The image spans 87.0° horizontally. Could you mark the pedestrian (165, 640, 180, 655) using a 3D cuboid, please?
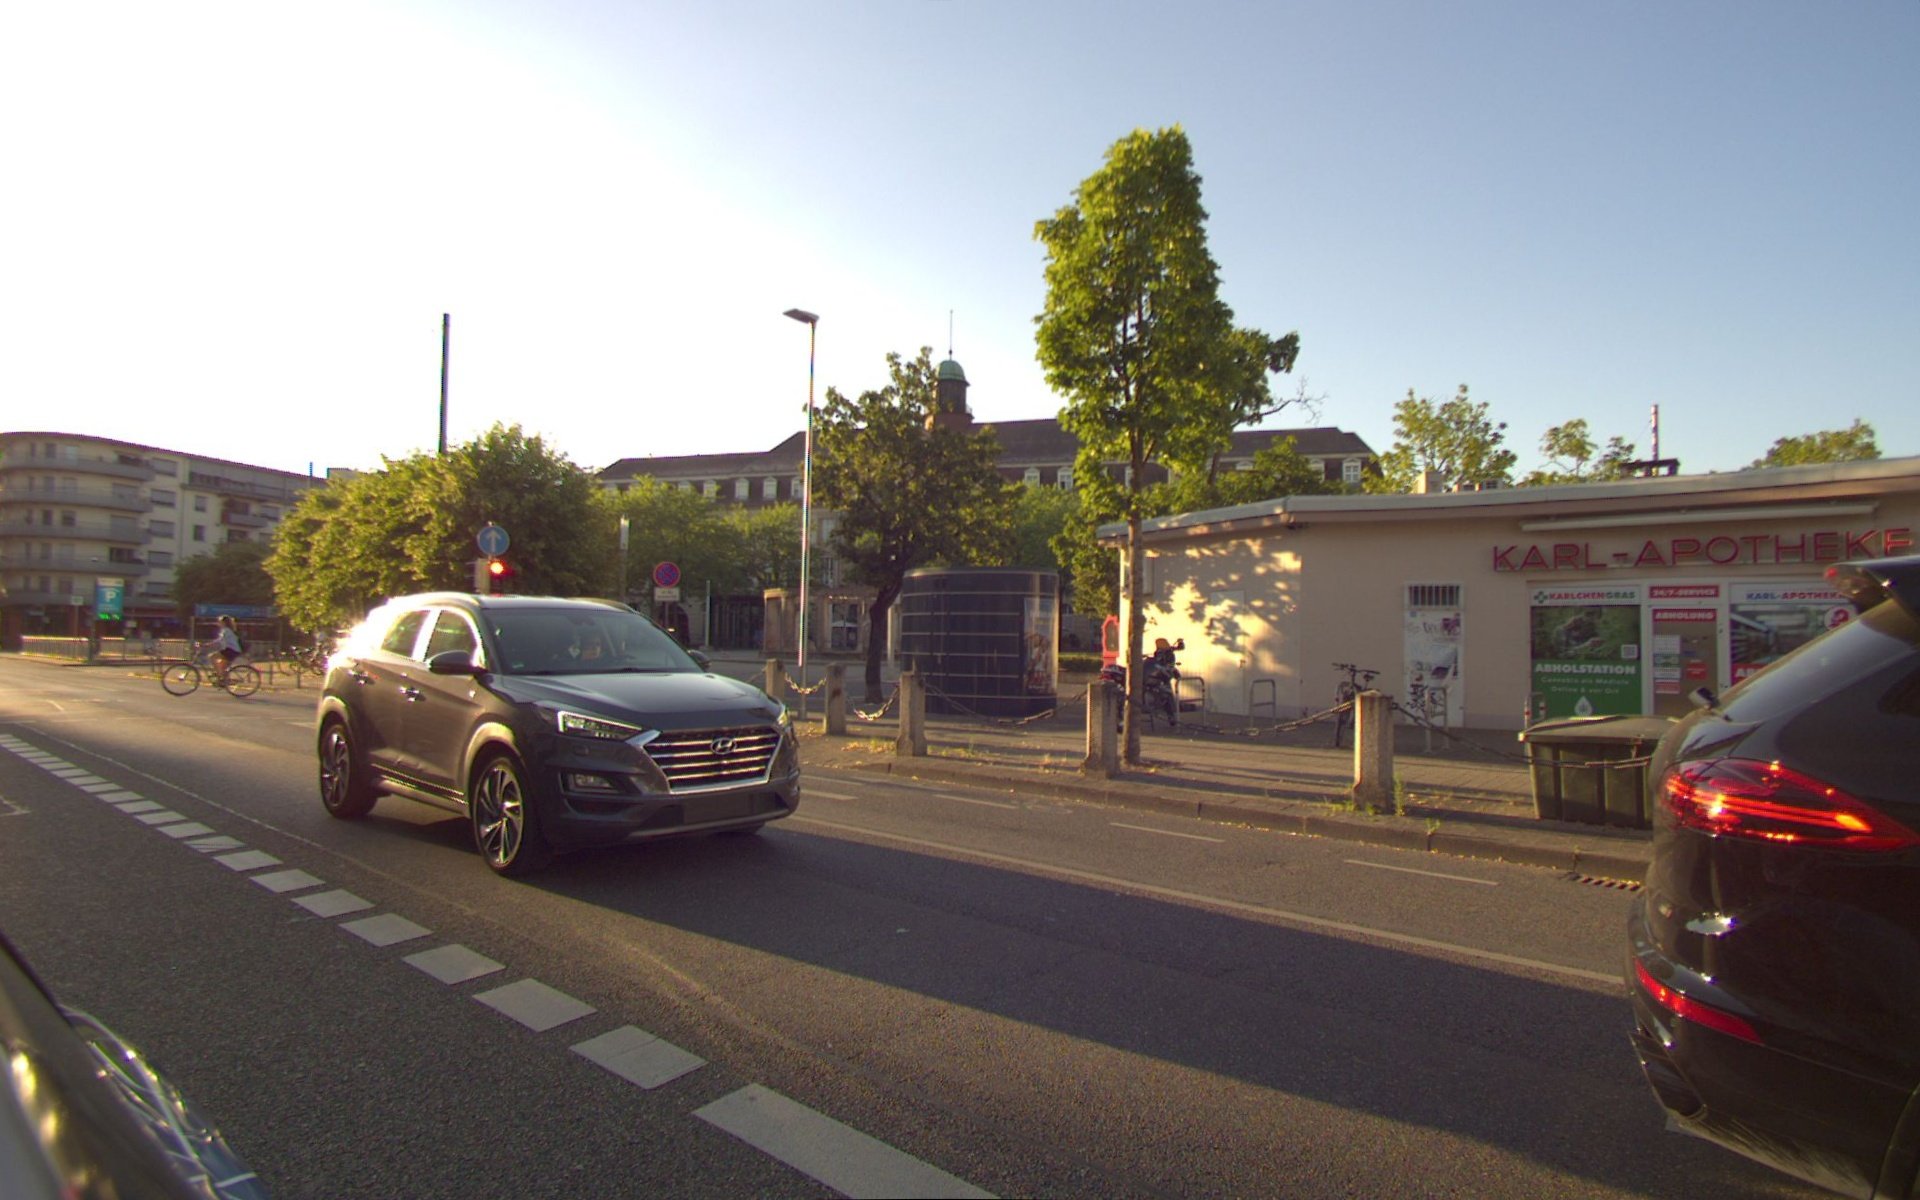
[{"bbox_3d":[-71.883,4.358,92.330,0.721,1.332,0.891,1,-3,-11],"label":"pedestrian"}]

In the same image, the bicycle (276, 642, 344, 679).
[{"bbox_3d":[-23.341,2.171,36.368,0.548,1.262,2.007,-2,-2,36],"label":"bicycle"}]

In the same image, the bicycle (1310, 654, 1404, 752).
[{"bbox_3d":[5.527,1.390,14.027,0.632,1.266,1.834,-2,-4,41],"label":"bicycle"}]

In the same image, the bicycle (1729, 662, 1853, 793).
[{"bbox_3d":[9.096,1.325,11.057,0.949,1.266,1.984,-2,-4,41],"label":"bicycle"}]

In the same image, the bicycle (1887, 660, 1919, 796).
[{"bbox_3d":[9.948,1.246,10.213,0.787,1.266,2.418,-2,-4,41],"label":"bicycle"}]

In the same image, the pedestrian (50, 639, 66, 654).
[{"bbox_3d":[-74.836,3.850,83.962,0.875,1.201,0.734,2,-4,-40],"label":"pedestrian"}]

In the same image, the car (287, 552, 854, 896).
[{"bbox_3d":[-2.965,0.724,7.196,4.447,1.702,1.853,-2,-5,41],"label":"car"}]

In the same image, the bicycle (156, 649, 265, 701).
[{"bbox_3d":[-16.937,1.692,22.924,1.889,1.126,0.707,3,-3,-33],"label":"bicycle"}]

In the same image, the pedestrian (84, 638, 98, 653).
[{"bbox_3d":[-74.477,3.896,86.742,0.887,1.332,0.723,-2,-3,38],"label":"pedestrian"}]

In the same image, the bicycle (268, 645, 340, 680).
[{"bbox_3d":[-22.486,2.136,34.739,0.548,1.143,2.007,-2,-2,36],"label":"bicycle"}]

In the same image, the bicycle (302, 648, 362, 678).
[{"bbox_3d":[-21.594,2.153,34.805,0.548,0.986,1.658,-2,-2,36],"label":"bicycle"}]

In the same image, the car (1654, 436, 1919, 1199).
[{"bbox_3d":[3.749,0.577,1.312,4.556,1.727,1.929,-2,-4,39],"label":"car"}]

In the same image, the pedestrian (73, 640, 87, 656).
[{"bbox_3d":[-74.890,4.091,86.105,0.888,1.332,0.723,-2,-3,39],"label":"pedestrian"}]

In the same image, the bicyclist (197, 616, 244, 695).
[{"bbox_3d":[-16.805,1.260,23.011,0.766,1.737,0.857,3,-4,-34],"label":"bicyclist"}]

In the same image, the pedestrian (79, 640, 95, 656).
[{"bbox_3d":[-74.896,4.118,86.844,0.814,1.332,0.684,-1,-3,16],"label":"pedestrian"}]

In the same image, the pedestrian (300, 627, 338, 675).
[{"bbox_3d":[-25.169,2.003,39.750,0.937,1.831,0.828,1,-3,-10],"label":"pedestrian"}]

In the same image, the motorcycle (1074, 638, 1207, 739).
[{"bbox_3d":[2.870,1.345,15.855,0.868,1.440,2.554,-2,-4,41],"label":"motorcycle"}]

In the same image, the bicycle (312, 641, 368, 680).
[{"bbox_3d":[-21.137,2.053,34.540,0.444,1.262,1.571,-2,-2,38],"label":"bicycle"}]
